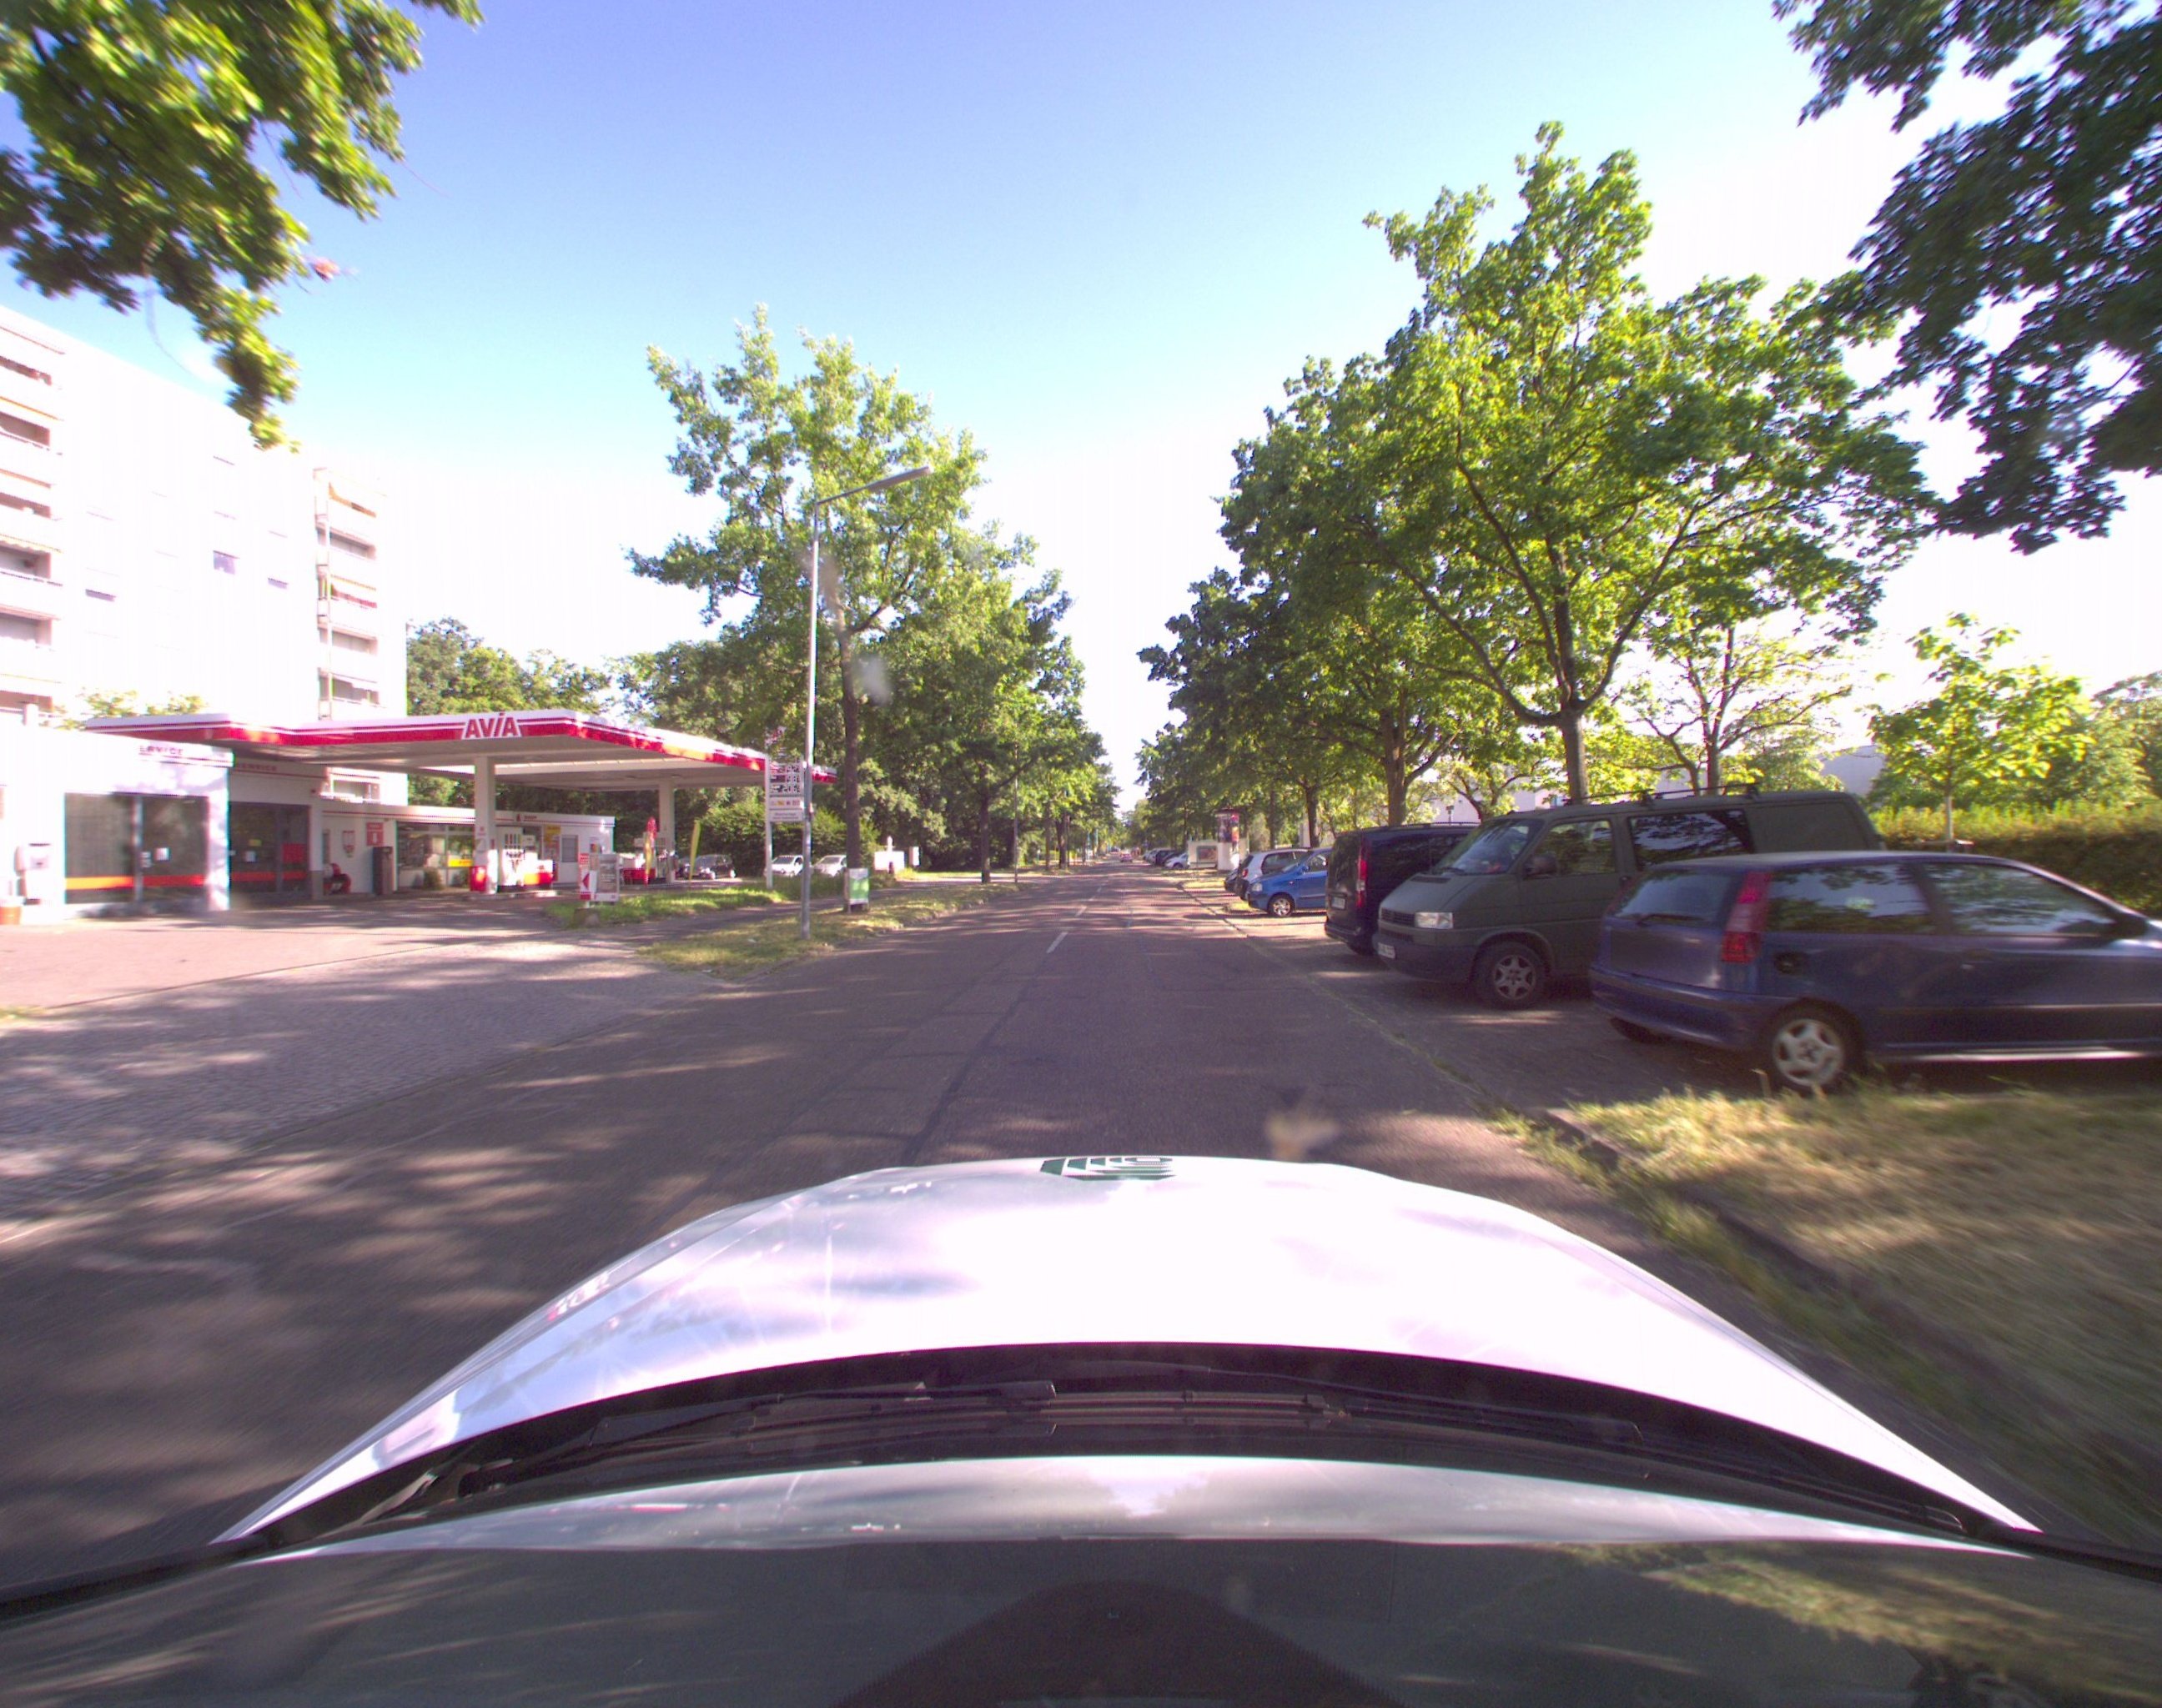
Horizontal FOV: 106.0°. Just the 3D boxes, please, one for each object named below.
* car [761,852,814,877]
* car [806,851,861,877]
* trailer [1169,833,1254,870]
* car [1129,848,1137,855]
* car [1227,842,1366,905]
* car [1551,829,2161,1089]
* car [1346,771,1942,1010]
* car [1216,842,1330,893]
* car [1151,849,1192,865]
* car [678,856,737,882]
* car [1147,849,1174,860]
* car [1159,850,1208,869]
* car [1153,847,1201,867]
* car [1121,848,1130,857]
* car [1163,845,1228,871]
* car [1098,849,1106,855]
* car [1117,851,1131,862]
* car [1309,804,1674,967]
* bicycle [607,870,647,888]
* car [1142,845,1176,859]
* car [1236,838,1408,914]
[{"bbox_3d":[-16.908,0.569,47.043,1.413,1.367,3.215,1,0,11],"label":"car"},{"bbox_3d":[-14.275,0.563,47.111,1.536,1.422,3.498,1,0,11],"label":"car"},{"bbox_3d":[9.258,-0.157,58.067,5.747,2.317,1.688,-3,0,5],"label":"trailer"},{"bbox_3d":[13.101,-0.591,204.721,1.985,1.716,4.003,-1,0,2],"label":"car"},{"bbox_3d":[6.151,0.536,23.542,3.567,1.576,1.788,-3,0,4],"label":"car"},{"bbox_3d":[5.731,0.598,5.580,3.972,1.403,1.741,-2,0,2],"label":"car"},{"bbox_3d":[5.486,0.347,8.495,4.784,2.032,1.945,-2,0,2],"label":"car"},{"bbox_3d":[6.658,0.453,28.525,3.569,1.576,1.858,-3,0,2],"label":"car"},{"bbox_3d":[10.480,0.362,94.739,4.651,1.580,1.918,-3,0,3],"label":"car"},{"bbox_3d":[-21.480,0.838,46.944,1.413,1.367,3.215,1,0,11],"label":"car"},{"bbox_3d":[11.723,0.054,120.089,3.968,1.433,1.903,-1,0,4],"label":"car"},{"bbox_3d":[9.198,0.493,73.592,4.226,1.519,2.080,-2,0,4],"label":"car"},{"bbox_3d":[9.448,0.314,80.492,4.511,1.801,1.938,-2,0,3],"label":"car"},{"bbox_3d":[10.026,-0.391,183.820,1.985,1.933,4.003,-1,0,2],"label":"car"},{"bbox_3d":[8.542,0.285,60.906,4.622,1.722,1.990,-3,0,3],"label":"car"},{"bbox_3d":[5.356,-0.512,211.186,1.985,1.716,4.003,-1,0,2],"label":"car"},{"bbox_3d":[6.483,0.378,122.558,1.986,1.484,4.001,-1,0,1],"label":"car"},{"bbox_3d":[5.367,0.393,11.051,3.995,1.837,1.799,-3,0,0],"label":"car"},{"bbox_3d":[-22.300,1.236,40.053,0.612,0.807,1.788,-1,0,18],"label":"bicycle"},{"bbox_3d":[12.181,-0.334,127.857,5.168,2.105,2.083,-2,0,1],"label":"car"},{"bbox_3d":[5.506,0.487,18.951,3.505,1.532,1.667,-3,0,4],"label":"car"}]
